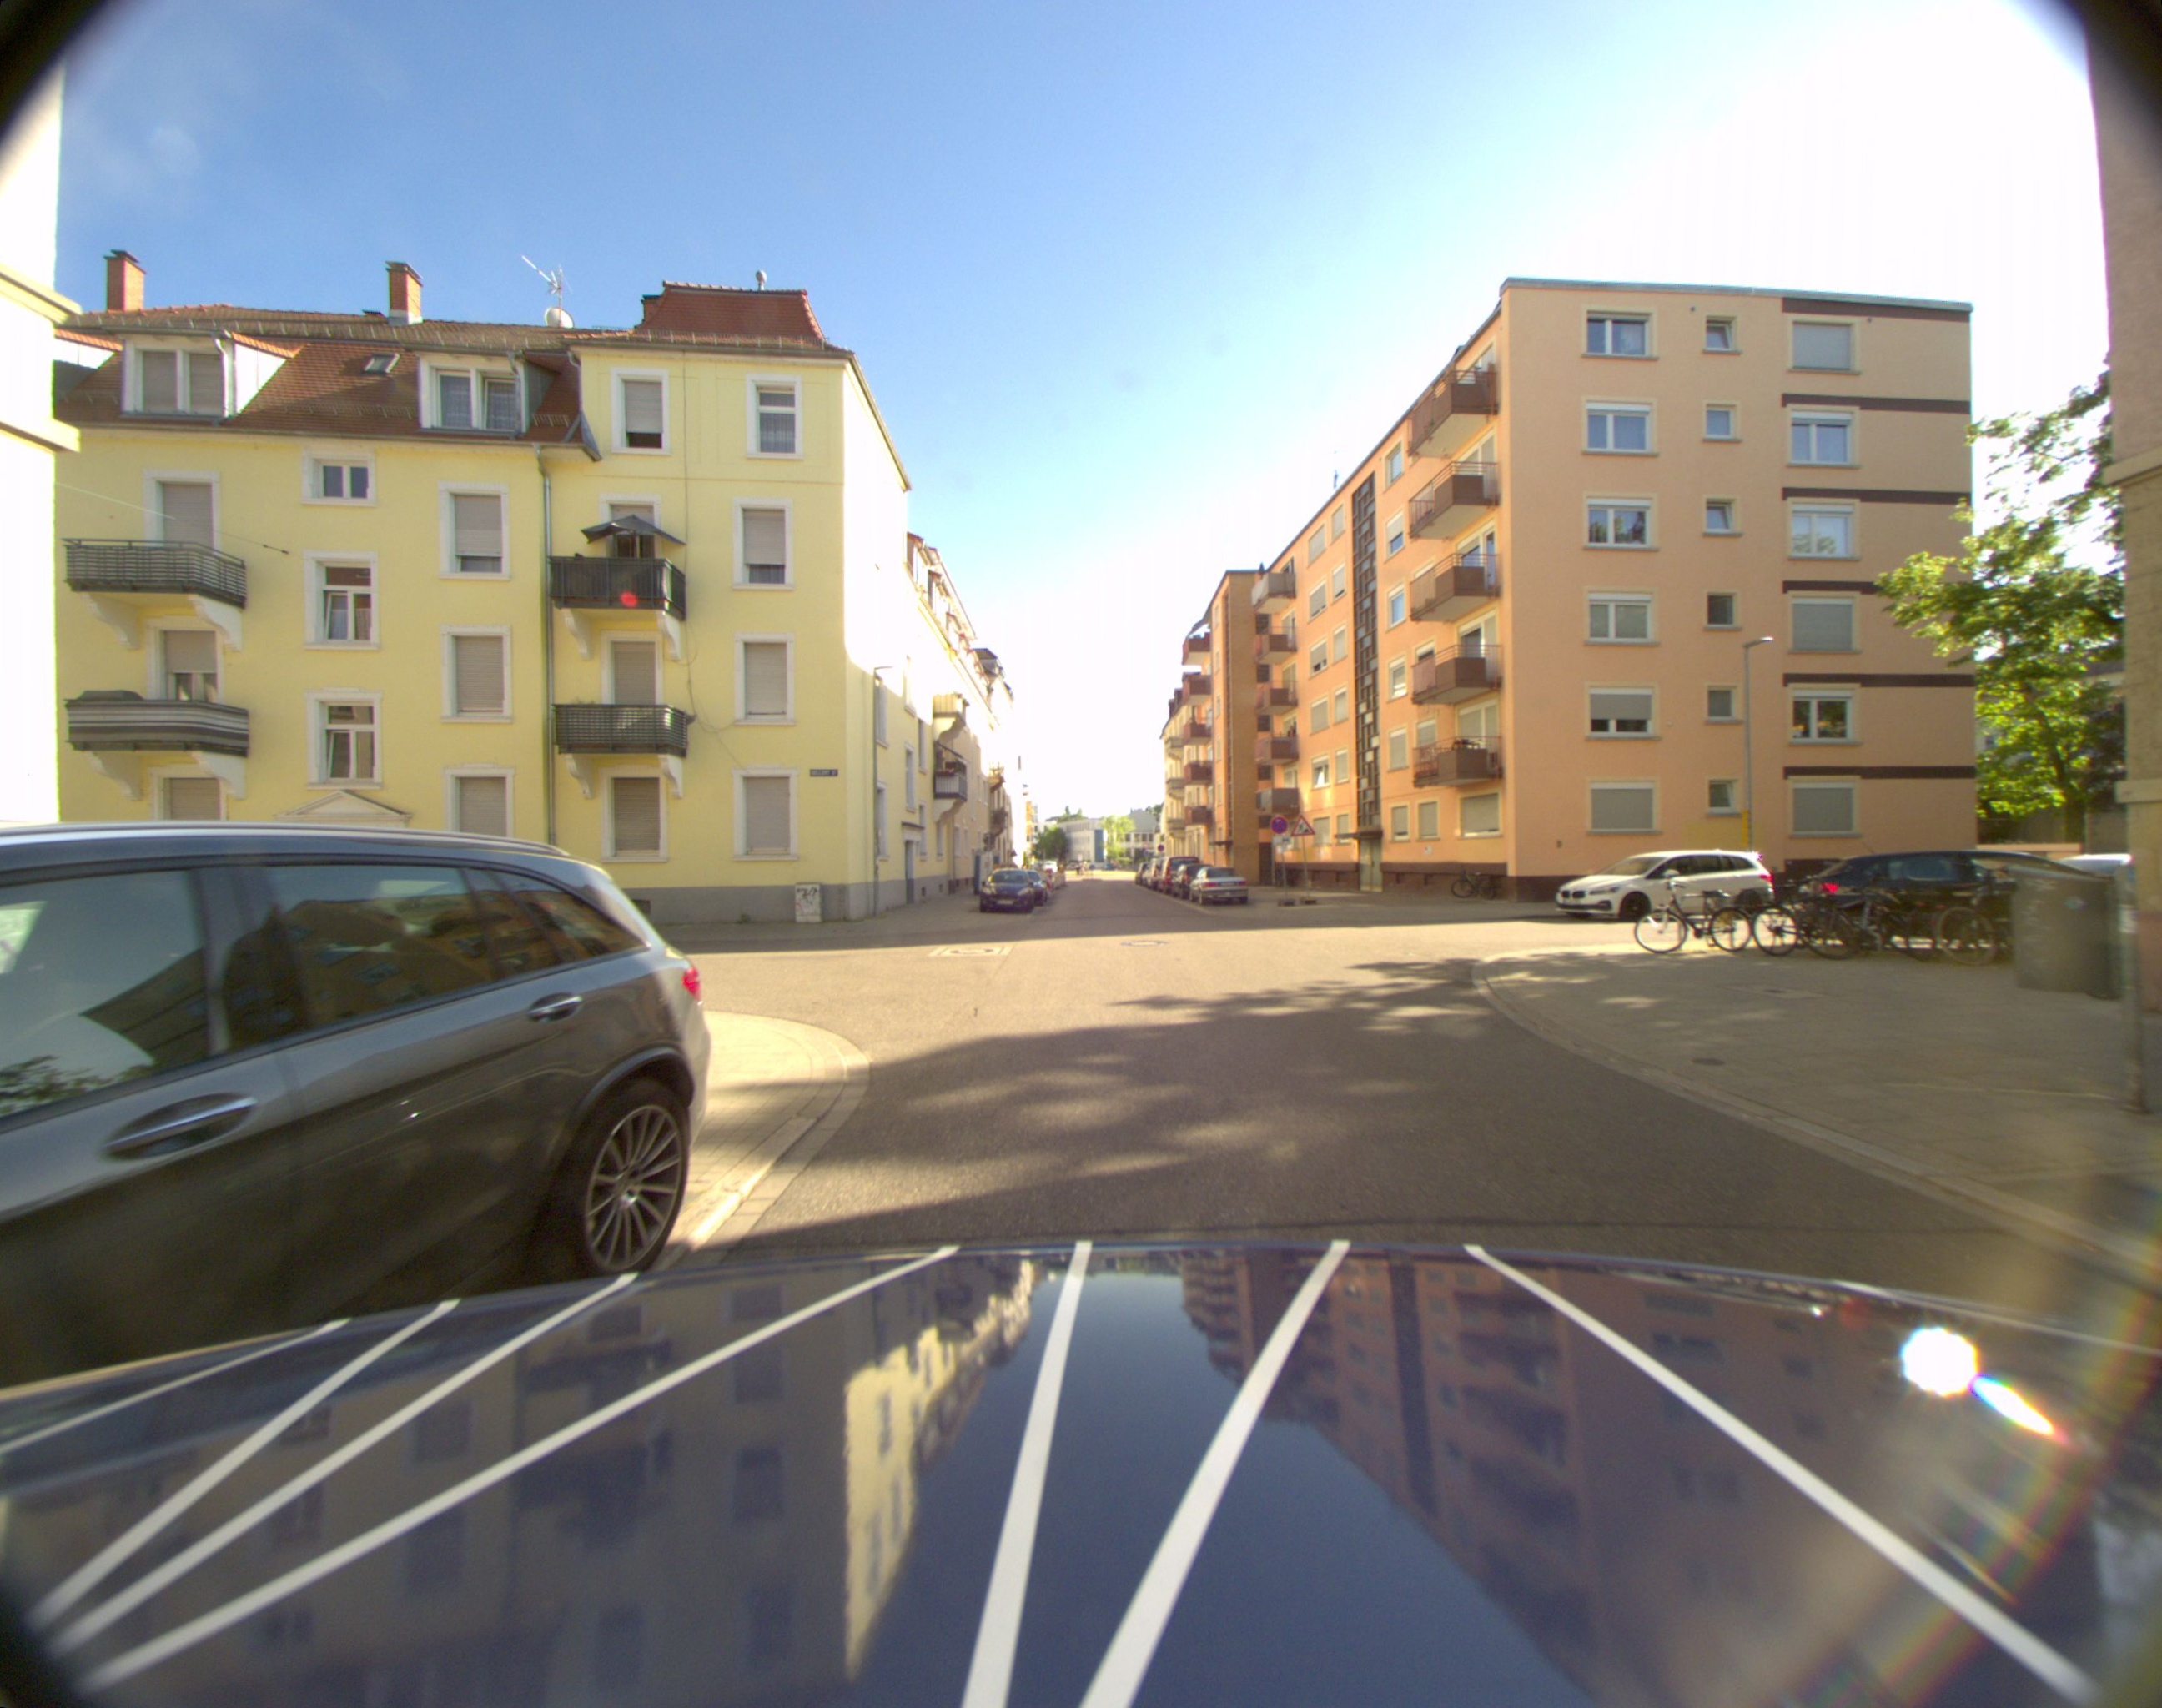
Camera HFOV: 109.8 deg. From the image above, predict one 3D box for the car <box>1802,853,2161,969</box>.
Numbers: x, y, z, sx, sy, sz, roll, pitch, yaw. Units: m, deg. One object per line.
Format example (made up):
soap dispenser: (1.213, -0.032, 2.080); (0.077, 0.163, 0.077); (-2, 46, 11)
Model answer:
car: (12.753, 0.719, 10.395); (1.713, 1.376, 3.990); (0, -2, -40)

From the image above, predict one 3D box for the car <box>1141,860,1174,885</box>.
car: (5.136, 1.253, 51.424); (1.822, 1.589, 3.812); (-1, 0, 1)

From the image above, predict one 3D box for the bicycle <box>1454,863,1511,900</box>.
bicycle: (12.627, 0.832, 23.935); (0.688, 1.100, 1.805); (-1, 0, -6)

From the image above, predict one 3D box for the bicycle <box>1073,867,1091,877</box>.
bicycle: (0.122, 2.028, 86.256); (2.020, 1.041, 0.730); (-2, 0, 0)

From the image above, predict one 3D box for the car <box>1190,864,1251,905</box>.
car: (5.156, 1.106, 28.495); (1.678, 1.413, 3.501); (-1, 0, 1)

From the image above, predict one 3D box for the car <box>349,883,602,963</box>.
car: (-11.593, 1.295, 14.756); (3.509, 1.371, 1.646); (-1, -2, -6)

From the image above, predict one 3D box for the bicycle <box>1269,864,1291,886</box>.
bicycle: (10.483, 1.099, 40.093); (0.494, 1.100, 1.805); (-1, 0, -6)

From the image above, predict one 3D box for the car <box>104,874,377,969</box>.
car: (-15.679, 1.214, 14.333); (3.188, 1.575, 1.570); (-2, -1, -7)

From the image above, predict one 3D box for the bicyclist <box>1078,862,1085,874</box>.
bicyclist: (0.031, 1.562, 86.244); (0.743, 1.388, 0.727); (-2, 0, 0)

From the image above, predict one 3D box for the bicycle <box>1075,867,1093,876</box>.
bicycle: (0.336, 2.016, 87.095); (2.020, 1.041, 0.730); (-2, 0, 0)

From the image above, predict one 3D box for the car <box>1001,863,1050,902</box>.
car: (-2.195, 1.105, 30.715); (1.708, 1.417, 3.722); (0, 0, 0)

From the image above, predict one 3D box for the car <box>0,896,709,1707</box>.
car: (-2.490, 0.995, 0.876); (1.791, 1.654, 4.435); (-1, 0, 2)

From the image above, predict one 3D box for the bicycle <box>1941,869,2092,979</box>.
bicycle: (11.000, 0.796, 8.937); (1.501, 1.207, 0.435); (-1, 0, -10)

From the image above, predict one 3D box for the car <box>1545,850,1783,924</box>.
car: (13.593, 0.740, 17.841); (4.454, 1.550, 1.780); (-1, 0, -7)

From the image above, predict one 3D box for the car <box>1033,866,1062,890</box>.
car: (-2.136, 1.540, 49.013); (1.708, 1.417, 3.722); (0, 0, 0)

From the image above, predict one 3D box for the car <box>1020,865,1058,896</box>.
car: (-2.001, 1.261, 37.063); (1.708, 1.417, 3.722); (-1, 0, -2)

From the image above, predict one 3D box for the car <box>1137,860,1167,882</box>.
car: (5.197, 1.230, 55.961); (1.822, 1.589, 3.812); (-1, 0, 1)

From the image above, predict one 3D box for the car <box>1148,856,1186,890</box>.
car: (5.033, 1.083, 45.112); (1.822, 1.866, 4.111); (-1, 0, 1)

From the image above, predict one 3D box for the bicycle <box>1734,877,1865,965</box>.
bicycle: (9.926, 0.904, 10.502); (1.664, 1.140, 0.435); (-1, 0, -12)

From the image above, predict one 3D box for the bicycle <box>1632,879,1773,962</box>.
bicycle: (9.160, 0.966, 11.225); (1.664, 1.140, 0.593); (-1, 0, -5)

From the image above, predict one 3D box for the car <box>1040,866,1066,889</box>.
car: (-1.947, 1.639, 53.828); (1.708, 1.417, 3.722); (0, 0, 0)

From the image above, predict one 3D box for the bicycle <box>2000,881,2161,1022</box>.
bicycle: (9.438, 0.824, 6.726); (1.810, 1.129, 0.695); (-1, 0, -3)

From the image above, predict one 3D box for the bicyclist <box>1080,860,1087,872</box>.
bicyclist: (0.305, 1.353, 87.082); (0.743, 1.388, 0.727); (-2, 0, 0)

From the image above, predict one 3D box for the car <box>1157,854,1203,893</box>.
car: (5.034, 0.967, 39.155); (1.822, 1.866, 4.111); (-1, 0, 1)

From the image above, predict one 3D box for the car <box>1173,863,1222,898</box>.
car: (5.087, 1.132, 33.510); (1.678, 1.413, 3.286); (-1, 0, 1)

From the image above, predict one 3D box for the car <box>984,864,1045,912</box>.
car: (-2.127, 1.073, 25.249); (1.708, 1.417, 3.722); (0, 0, 0)

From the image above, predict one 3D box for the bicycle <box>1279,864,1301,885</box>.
bicycle: (11.037, 1.080, 40.171); (0.494, 1.100, 1.805); (-1, 0, -6)

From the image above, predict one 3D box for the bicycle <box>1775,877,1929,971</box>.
bicycle: (10.168, 0.899, 10.023); (1.861, 1.140, 0.435); (-1, 0, -10)

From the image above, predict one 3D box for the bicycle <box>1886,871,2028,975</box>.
bicycle: (10.854, 0.830, 9.419); (1.501, 1.207, 0.435); (-1, 0, -10)

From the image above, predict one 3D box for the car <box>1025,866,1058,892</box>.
car: (-2.233, 1.423, 44.088); (1.708, 1.417, 3.722); (-1, 0, 0)
